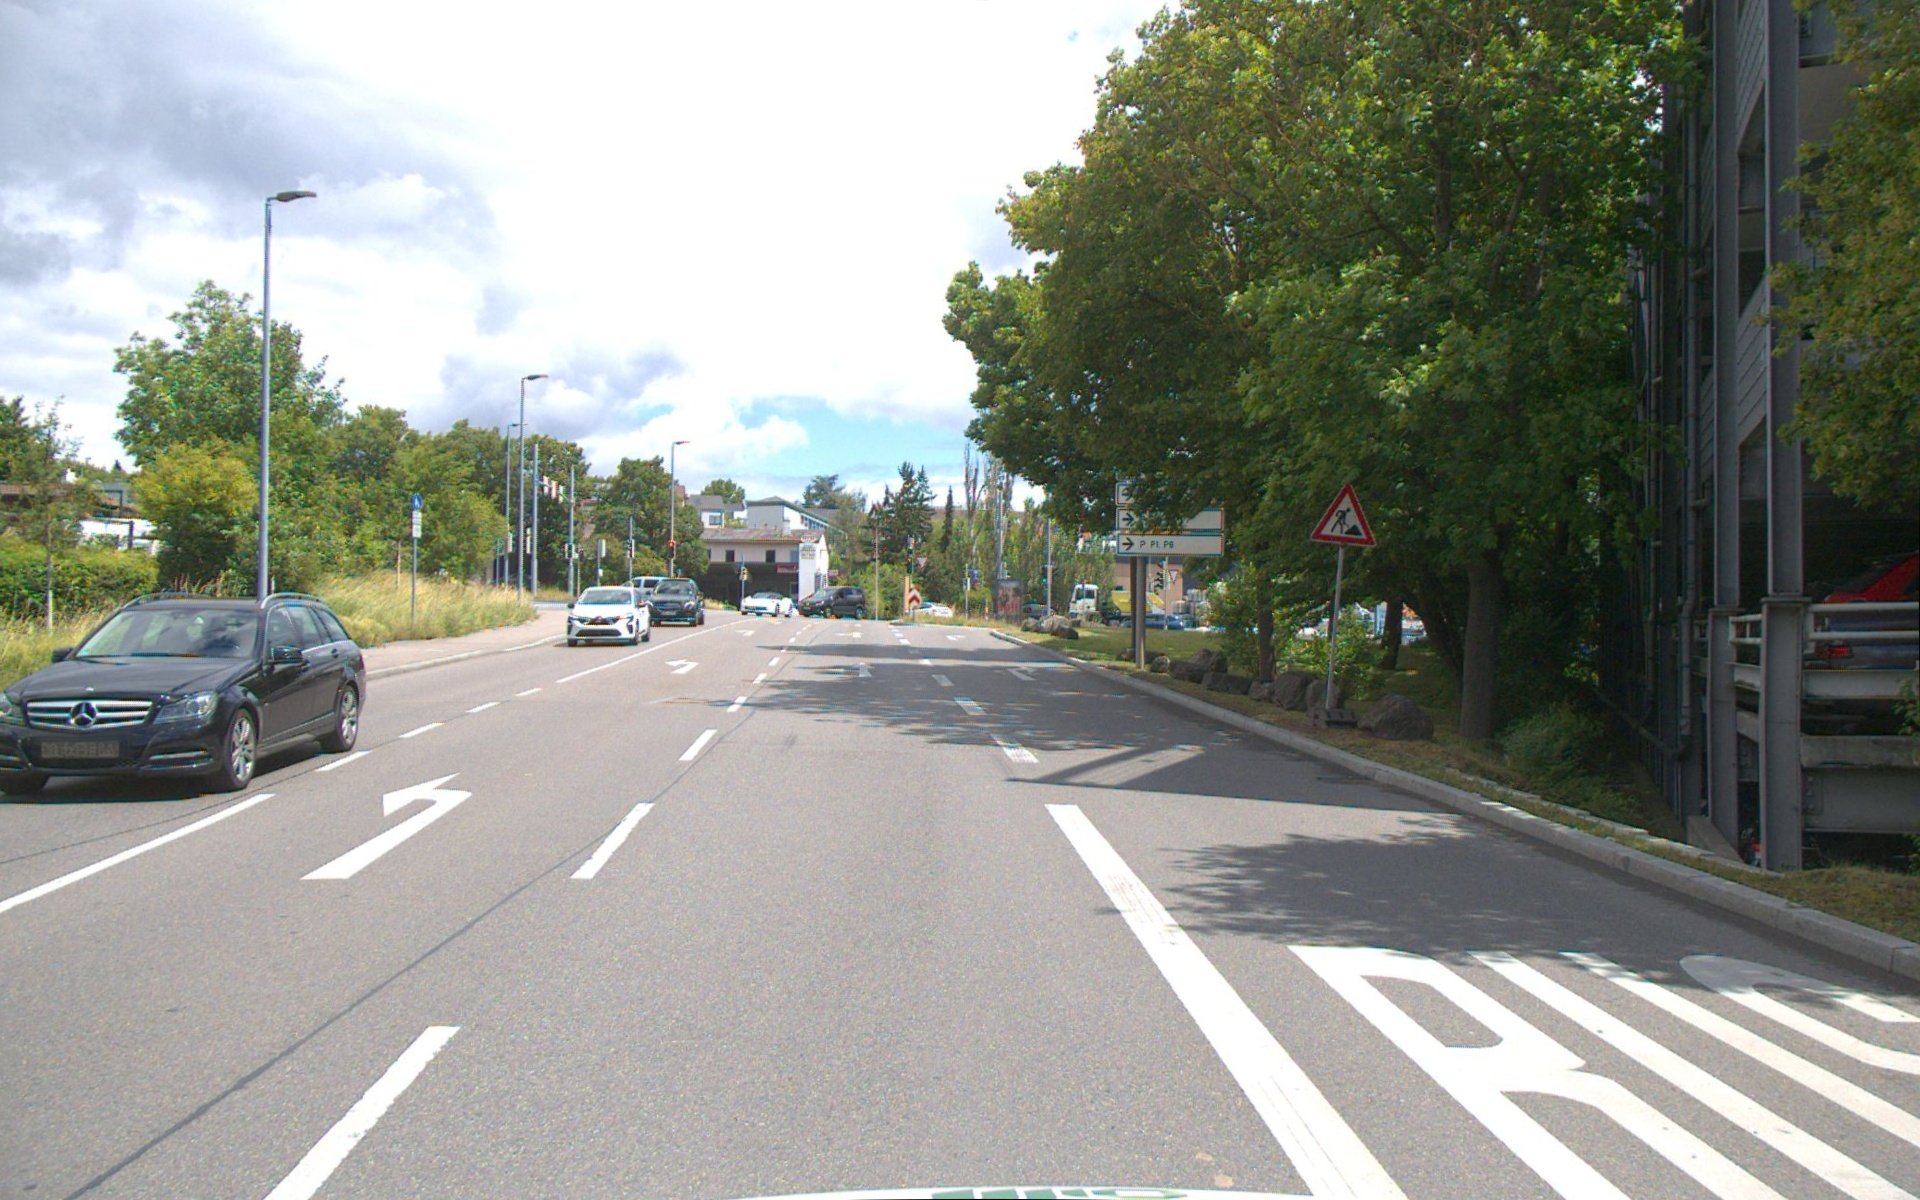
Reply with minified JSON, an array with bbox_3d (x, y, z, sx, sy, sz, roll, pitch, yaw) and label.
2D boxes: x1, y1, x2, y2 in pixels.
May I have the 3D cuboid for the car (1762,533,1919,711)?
[{"bbox_3d":[9.466,0.203,14.955,3.764,1.541,1.837,0,0,18],"label":"car"}]

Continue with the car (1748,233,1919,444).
[{"bbox_3d":[8.181,-2.031,12.817,3.616,1.436,1.659,0,1,22],"label":"car"}]

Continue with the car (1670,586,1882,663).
[{"bbox_3d":[16.812,0.480,34.260,3.765,1.516,1.695,0,-1,21],"label":"car"}]

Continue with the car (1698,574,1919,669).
[{"bbox_3d":[13.670,0.323,25.900,3.765,1.416,1.695,0,0,21],"label":"car"}]

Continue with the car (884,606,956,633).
[{"bbox_3d":[-2.763,1.342,114.350,4.698,1.810,1.790,0,-2,23],"label":"car"}]

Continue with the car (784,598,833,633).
[{"bbox_3d":[-8.537,0.888,93.561,1.747,1.810,4.814,1,-2,7],"label":"car"}]

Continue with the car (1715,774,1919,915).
[{"bbox_3d":[11.874,3.135,21.262,3.764,1.478,1.837,0,0,19],"label":"car"}]

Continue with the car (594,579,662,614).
[{"bbox_3d":[-21.142,-0.211,105.334,3.906,2.049,1.999,-1,-1,-1],"label":"car"}]

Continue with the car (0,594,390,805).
[{"bbox_3d":[-6.281,0.709,13.958,1.731,1.467,4.373,-1,0,-5],"label":"car"}]

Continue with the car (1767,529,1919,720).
[{"bbox_3d":[8.405,0.197,12.905,3.614,1.436,1.660,0,0,19],"label":"car"}]

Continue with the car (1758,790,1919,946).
[{"bbox_3d":[11.347,3.089,18.949,3.764,1.478,1.837,0,0,19],"label":"car"}]

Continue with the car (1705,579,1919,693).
[{"bbox_3d":[11.868,0.458,21.632,3.765,1.416,1.695,0,0,21],"label":"car"}]

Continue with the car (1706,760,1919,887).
[{"bbox_3d":[12.713,3.149,23.413,3.764,1.478,1.837,0,0,19],"label":"car"}]

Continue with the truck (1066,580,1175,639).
[{"bbox_3d":[10.456,0.654,108.147,6.802,3.642,2.846,-1,-1,0],"label":"truck"}]

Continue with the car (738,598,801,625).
[{"bbox_3d":[-9.739,0.568,84.735,1.864,1.314,4.613,0,0,11],"label":"car"}]

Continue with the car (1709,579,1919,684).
[{"bbox_3d":[12.712,0.426,23.372,3.765,1.416,1.695,0,0,21],"label":"car"}]

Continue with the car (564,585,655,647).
[{"bbox_3d":[-8.803,0.391,41.797,1.731,1.467,3.896,-1,0,-5],"label":"car"}]

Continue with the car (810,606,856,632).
[{"bbox_3d":[-9.629,1.464,125.180,1.883,1.892,3.764,-1,-1,-35],"label":"car"}]

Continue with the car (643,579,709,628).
[{"bbox_3d":[-10.133,0.108,59.297,1.785,1.683,4.530,-1,0,-3],"label":"car"}]

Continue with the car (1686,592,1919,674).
[{"bbox_3d":[15.257,0.574,29.936,3.765,1.416,1.695,0,0,21],"label":"car"}]

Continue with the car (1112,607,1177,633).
[{"bbox_3d":[11.649,1.267,104.519,3.905,1.425,1.697,3,-1,0],"label":"car"}]

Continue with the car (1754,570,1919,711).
[{"bbox_3d":[10.478,0.415,17.303,3.765,1.416,1.813,0,0,21],"label":"car"}]
